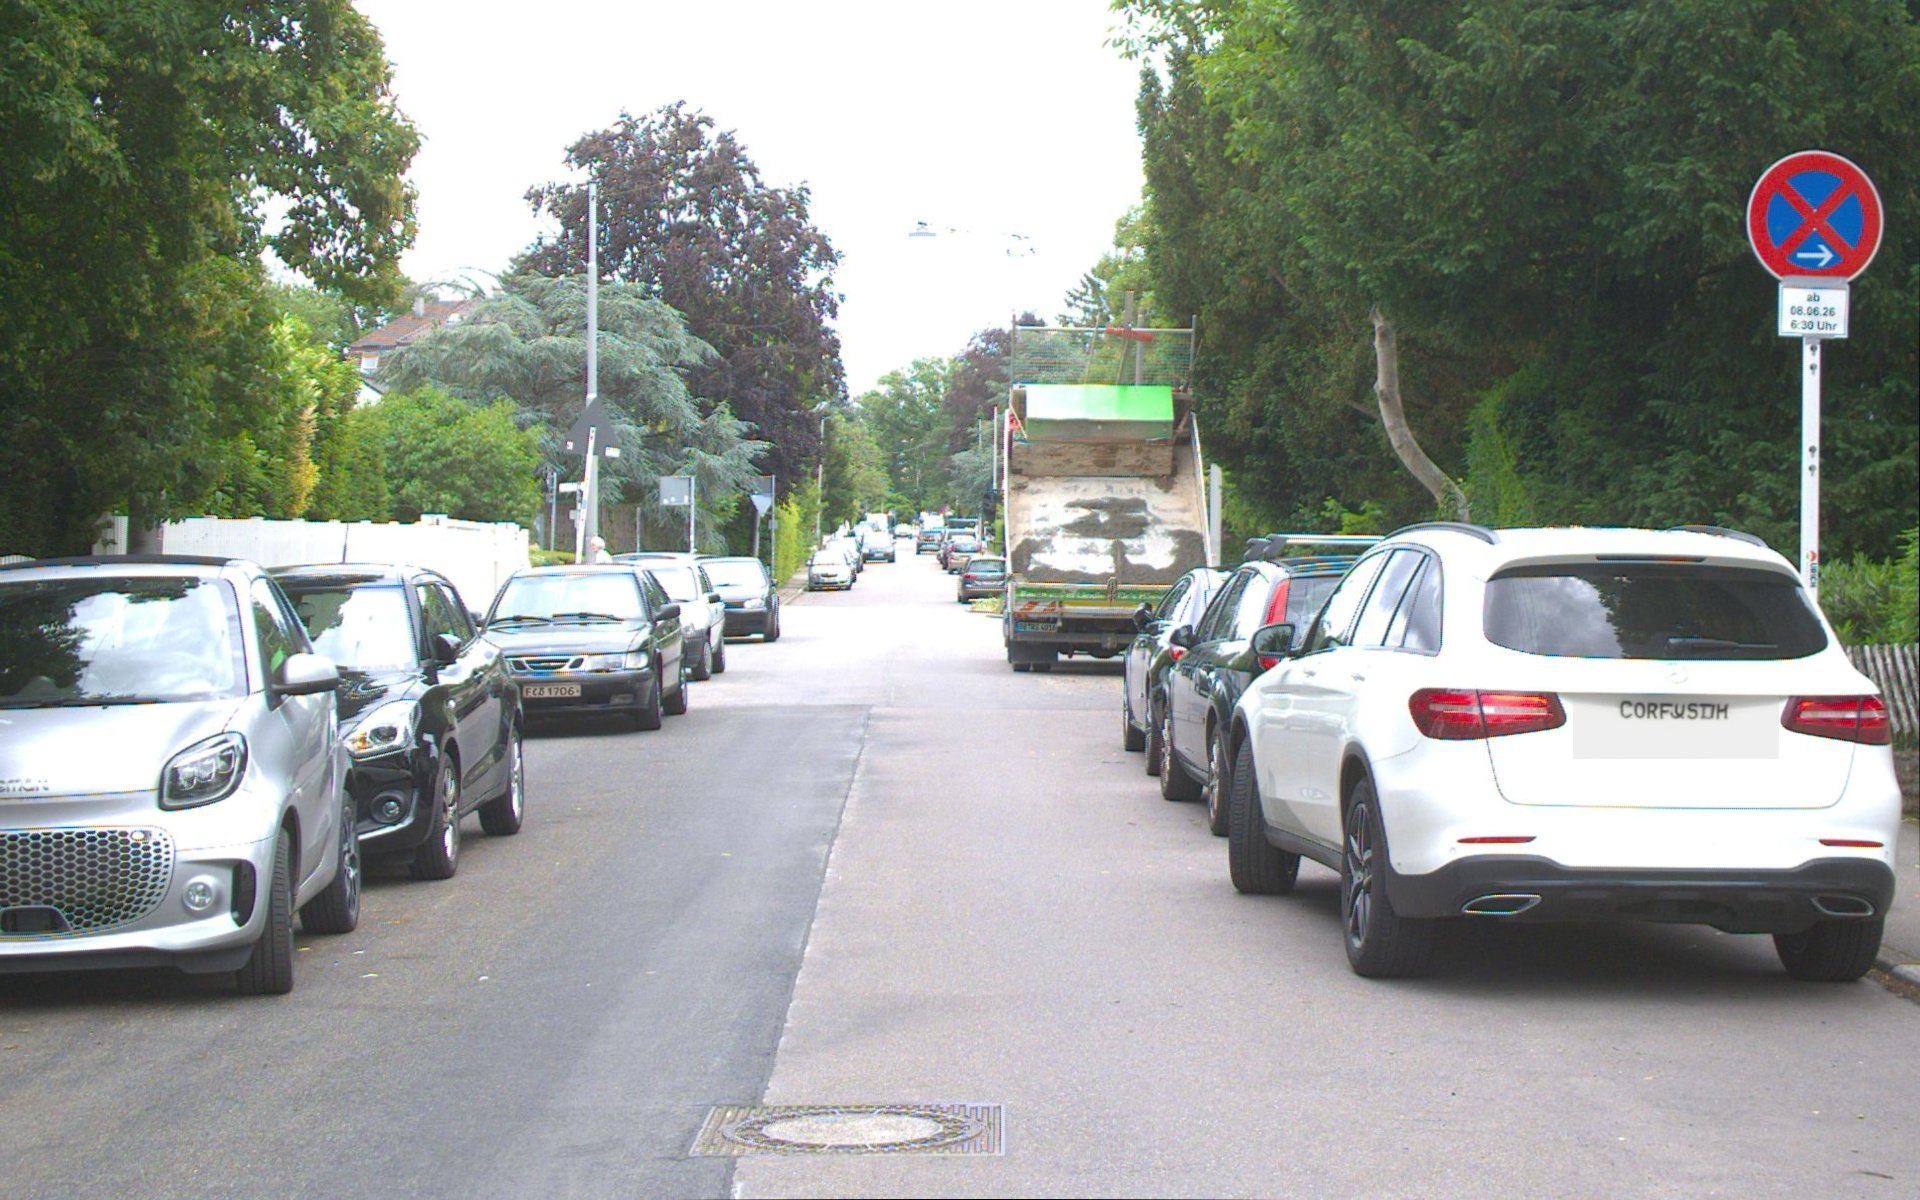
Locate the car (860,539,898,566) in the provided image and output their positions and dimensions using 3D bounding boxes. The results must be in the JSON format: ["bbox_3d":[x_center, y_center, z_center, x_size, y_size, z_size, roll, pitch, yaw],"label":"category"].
[{"bbox_3d":[-4.299,-2.535,183.296,1.728,1.402,3.803,0,0,3],"label":"car"}]

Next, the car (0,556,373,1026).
[{"bbox_3d":[-3.196,0.626,12.907,1.621,1.528,2.963,-2,1,-4],"label":"car"}]

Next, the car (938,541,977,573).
[{"bbox_3d":[-0.105,-2.103,166.527,1.789,1.524,3.734,1,1,1],"label":"car"}]

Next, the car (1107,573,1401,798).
[{"bbox_3d":[2.032,0.541,24.893,1.652,1.419,4.661,1,1,-1],"label":"car"}]

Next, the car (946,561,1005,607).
[{"bbox_3d":[0.498,-0.532,114.022,1.778,1.484,4.000,0,1,-2],"label":"car"}]

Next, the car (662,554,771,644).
[{"bbox_3d":[-4.042,-0.047,57.542,1.637,1.390,3.989,-2,1,-2],"label":"car"}]

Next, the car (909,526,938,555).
[{"bbox_3d":[-2.201,-3.580,207.655,1.633,1.695,3.495,1,1,-1],"label":"car"}]

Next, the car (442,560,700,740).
[{"bbox_3d":[-3.365,0.383,30.488,1.641,1.417,4.549,-2,1,1],"label":"car"}]

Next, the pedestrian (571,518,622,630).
[{"bbox_3d":[-6.661,-0.473,63.097,0.852,2.007,0.701,2,0,-6],"label":"pedestrian"}]

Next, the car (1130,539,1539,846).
[{"bbox_3d":[2.023,0.450,19.715,1.698,1.565,4.309,0,1,-2],"label":"car"}]

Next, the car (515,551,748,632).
[{"bbox_3d":[-6.173,-0.177,64.720,3.990,1.439,1.825,1,1,16],"label":"car"}]

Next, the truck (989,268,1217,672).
[{"bbox_3d":[1.725,-1.585,44.372,2.524,4.732,7.187,1,1,0],"label":"truck"}]

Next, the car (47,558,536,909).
[{"bbox_3d":[-3.208,0.572,17.216,1.655,1.476,3.888,-2,1,0],"label":"car"}]

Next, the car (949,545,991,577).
[{"bbox_3d":[0.446,-1.776,157.701,1.810,1.331,3.633,2,2,-2],"label":"car"}]

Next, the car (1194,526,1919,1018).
[{"bbox_3d":[2.150,0.547,13.698,1.757,1.600,4.576,1,1,-4],"label":"car"}]

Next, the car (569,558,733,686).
[{"bbox_3d":[-3.707,0.232,41.777,1.596,1.428,4.000,-2,1,0],"label":"car"}]

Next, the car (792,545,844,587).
[{"bbox_3d":[-5.511,-1.338,133.993,1.711,1.580,4.000,1,1,2],"label":"car"}]
